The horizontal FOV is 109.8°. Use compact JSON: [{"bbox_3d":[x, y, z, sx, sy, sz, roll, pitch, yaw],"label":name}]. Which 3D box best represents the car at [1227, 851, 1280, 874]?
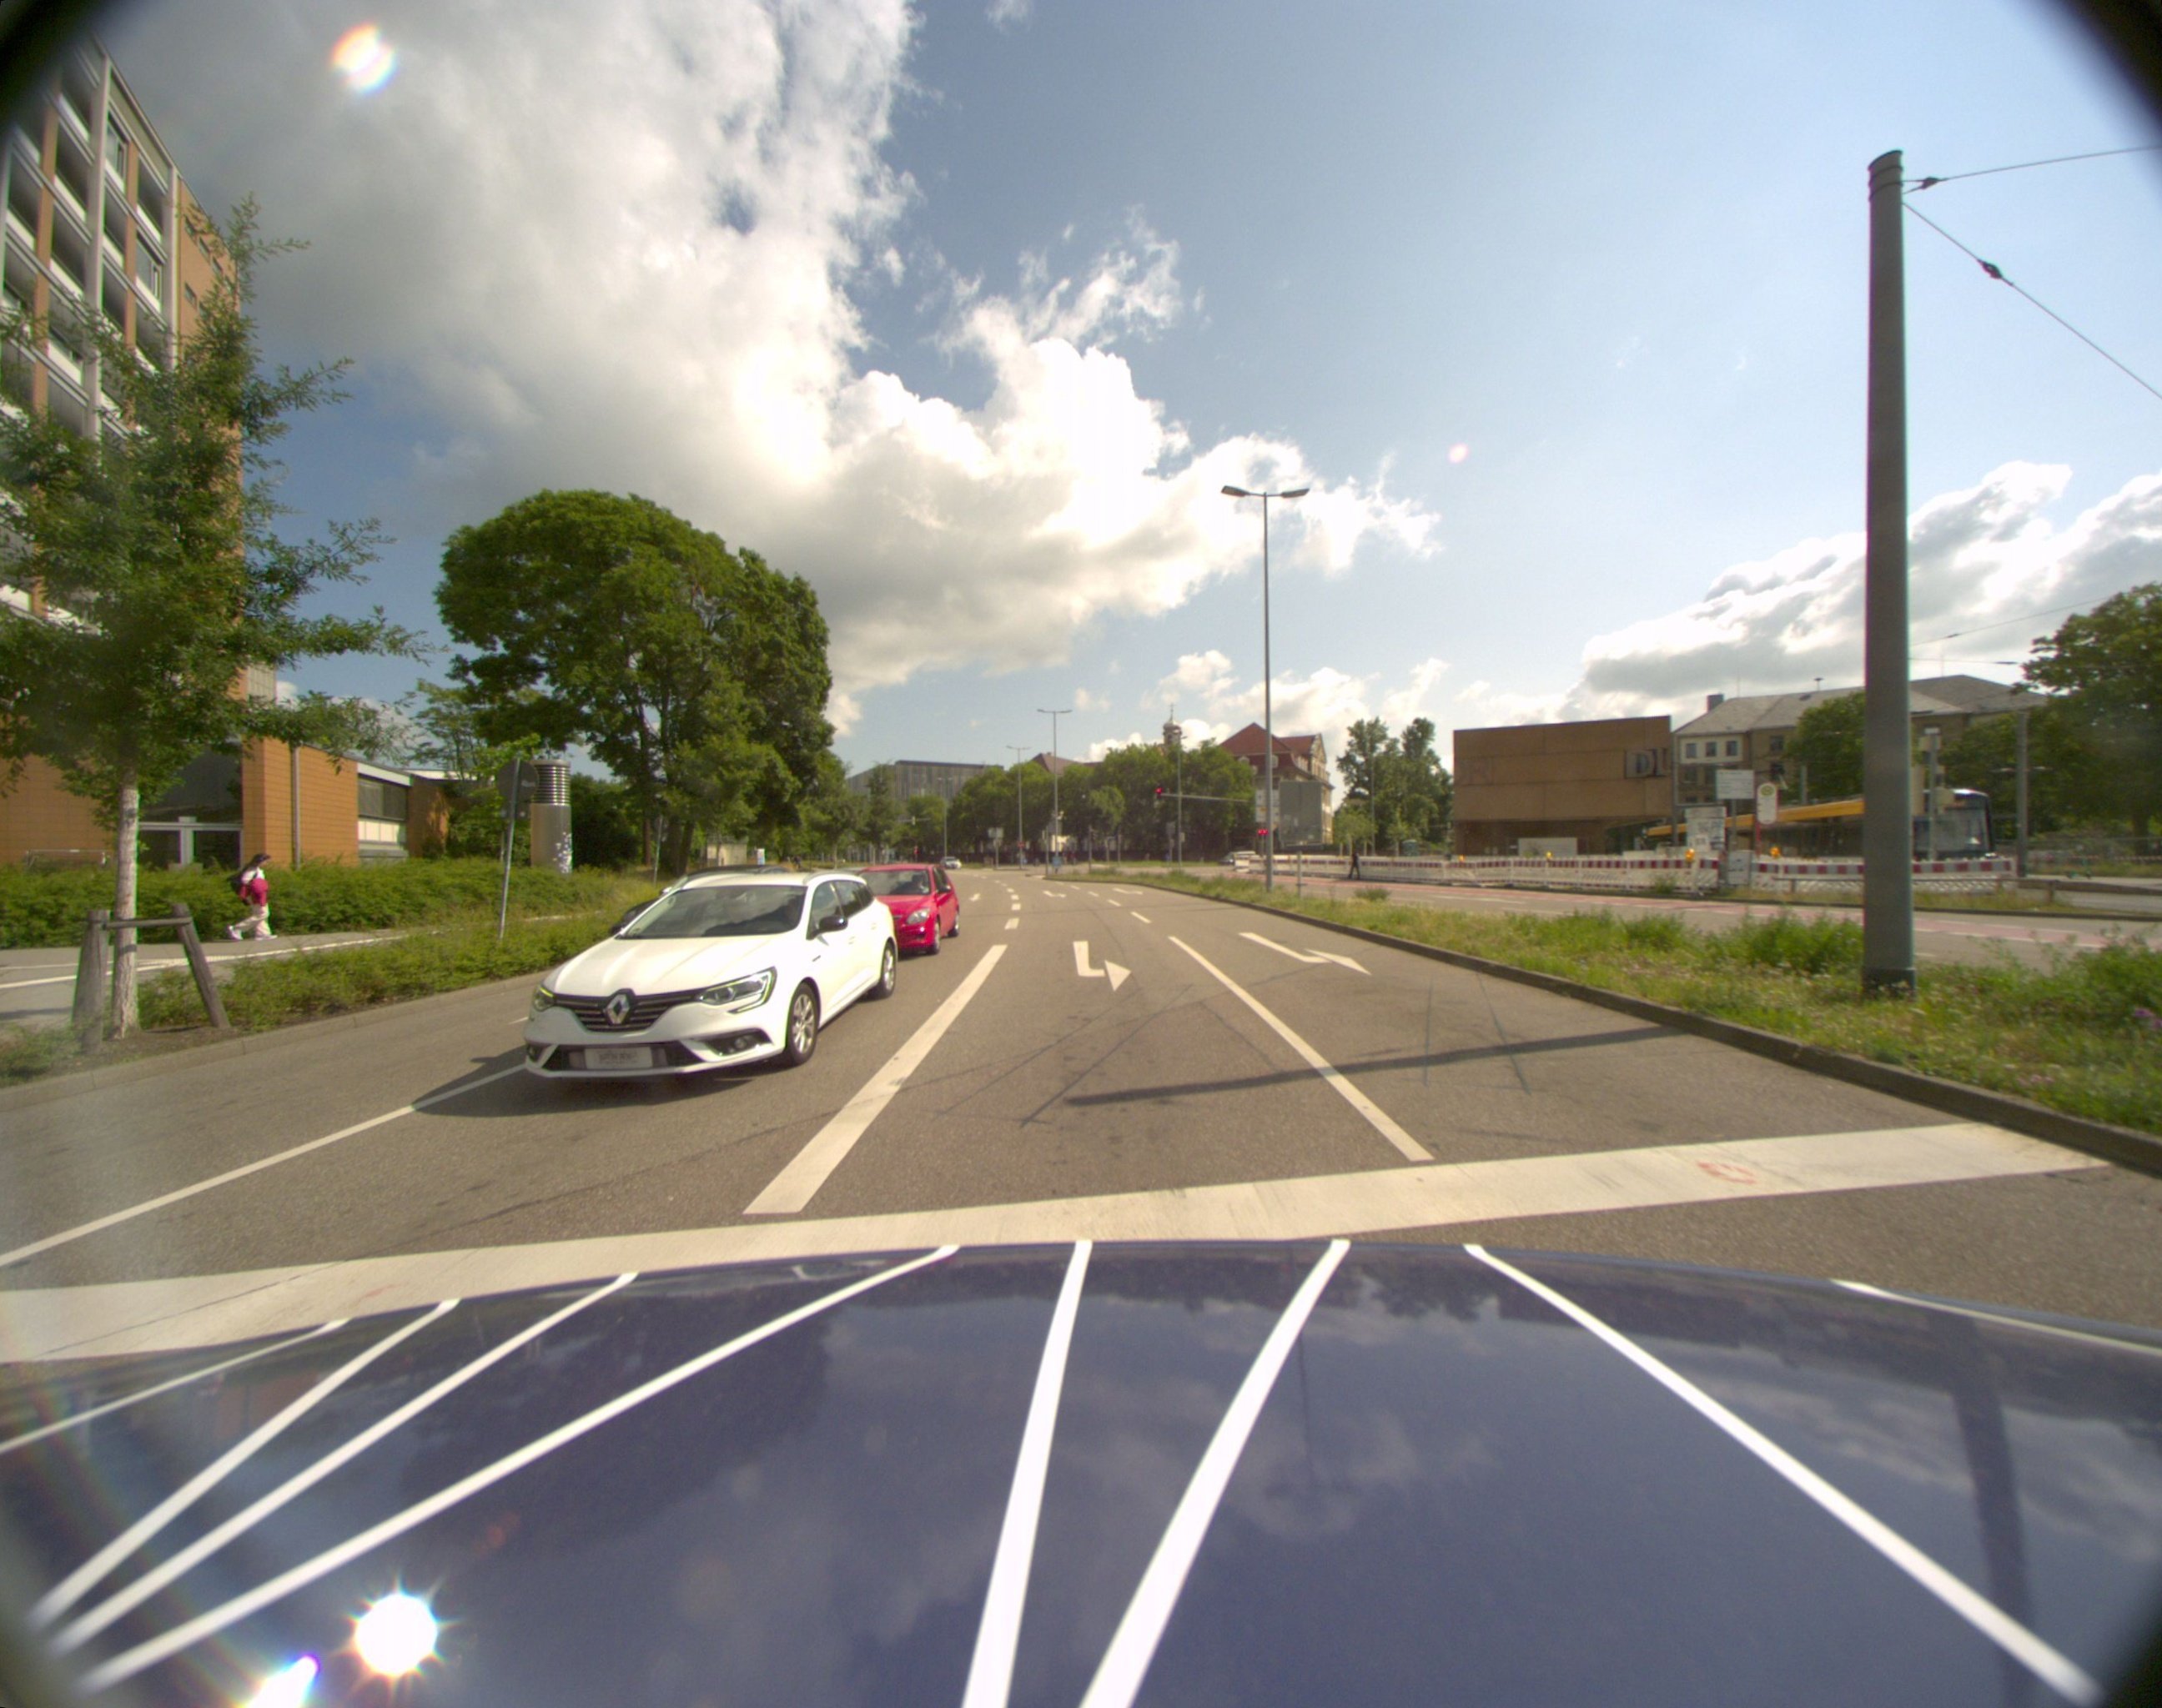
[{"bbox_3d":[14.095,0.705,62.071,3.991,1.772,2.003,-1,0,19],"label":"car"}]

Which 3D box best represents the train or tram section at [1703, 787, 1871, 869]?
[{"bbox_3d":[34.773,-1.285,38.074,3.316,3.461,10.624,-2,1,27],"label":"train or tram section"}]

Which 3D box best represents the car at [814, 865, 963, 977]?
[{"bbox_3d":[-3.137,1.014,13.193,1.646,1.459,4.063,-2,1,-3],"label":"car"}]

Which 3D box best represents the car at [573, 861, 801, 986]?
[{"bbox_3d":[-6.230,0.983,12.640,1.646,1.567,4.210,-2,1,-2],"label":"car"}]

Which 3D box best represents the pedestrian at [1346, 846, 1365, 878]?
[{"bbox_3d":[14.942,0.431,41.399,0.653,1.754,1.001,-1,1,-2],"label":"pedestrian"}]

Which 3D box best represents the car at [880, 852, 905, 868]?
[{"bbox_3d":[-21.811,0.690,87.984,2.002,1.745,3.991,-3,1,-26],"label":"car"}]

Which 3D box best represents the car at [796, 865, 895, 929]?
[{"bbox_3d":[-6.161,1.064,20.330,1.588,1.377,4.076,-2,1,-4],"label":"car"}]

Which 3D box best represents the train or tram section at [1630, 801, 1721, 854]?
[{"bbox_3d":[44.285,-1.983,57.038,3.316,3.461,10.624,-2,1,27],"label":"train or tram section"}]

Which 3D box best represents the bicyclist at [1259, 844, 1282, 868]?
[{"bbox_3d":[12.578,0.114,50.558,0.778,1.554,1.774,-1,0,-12],"label":"bicyclist"}]

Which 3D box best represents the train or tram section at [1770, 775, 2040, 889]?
[{"bbox_3d":[30.049,-0.805,28.586,3.316,3.461,10.624,-2,1,27],"label":"train or tram section"}]

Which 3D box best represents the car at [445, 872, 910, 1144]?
[{"bbox_3d":[-3.010,1.013,7.033,1.762,1.421,4.673,-2,1,0],"label":"car"}]

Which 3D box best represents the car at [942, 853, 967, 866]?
[{"bbox_3d":[-15.129,0.643,91.067,1.834,1.516,3.991,-1,0,-27],"label":"car"}]

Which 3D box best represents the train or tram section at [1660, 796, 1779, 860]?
[{"bbox_3d":[39.528,-1.634,47.557,3.316,3.461,10.624,-2,1,27],"label":"train or tram section"}]

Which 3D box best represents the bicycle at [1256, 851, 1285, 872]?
[{"bbox_3d":[12.565,0.487,50.490,0.973,1.402,2.291,-1,0,-11],"label":"bicycle"}]

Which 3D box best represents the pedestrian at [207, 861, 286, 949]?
[{"bbox_3d":[-15.622,0.928,14.250,0.767,1.569,0.959,0,1,43],"label":"pedestrian"}]
